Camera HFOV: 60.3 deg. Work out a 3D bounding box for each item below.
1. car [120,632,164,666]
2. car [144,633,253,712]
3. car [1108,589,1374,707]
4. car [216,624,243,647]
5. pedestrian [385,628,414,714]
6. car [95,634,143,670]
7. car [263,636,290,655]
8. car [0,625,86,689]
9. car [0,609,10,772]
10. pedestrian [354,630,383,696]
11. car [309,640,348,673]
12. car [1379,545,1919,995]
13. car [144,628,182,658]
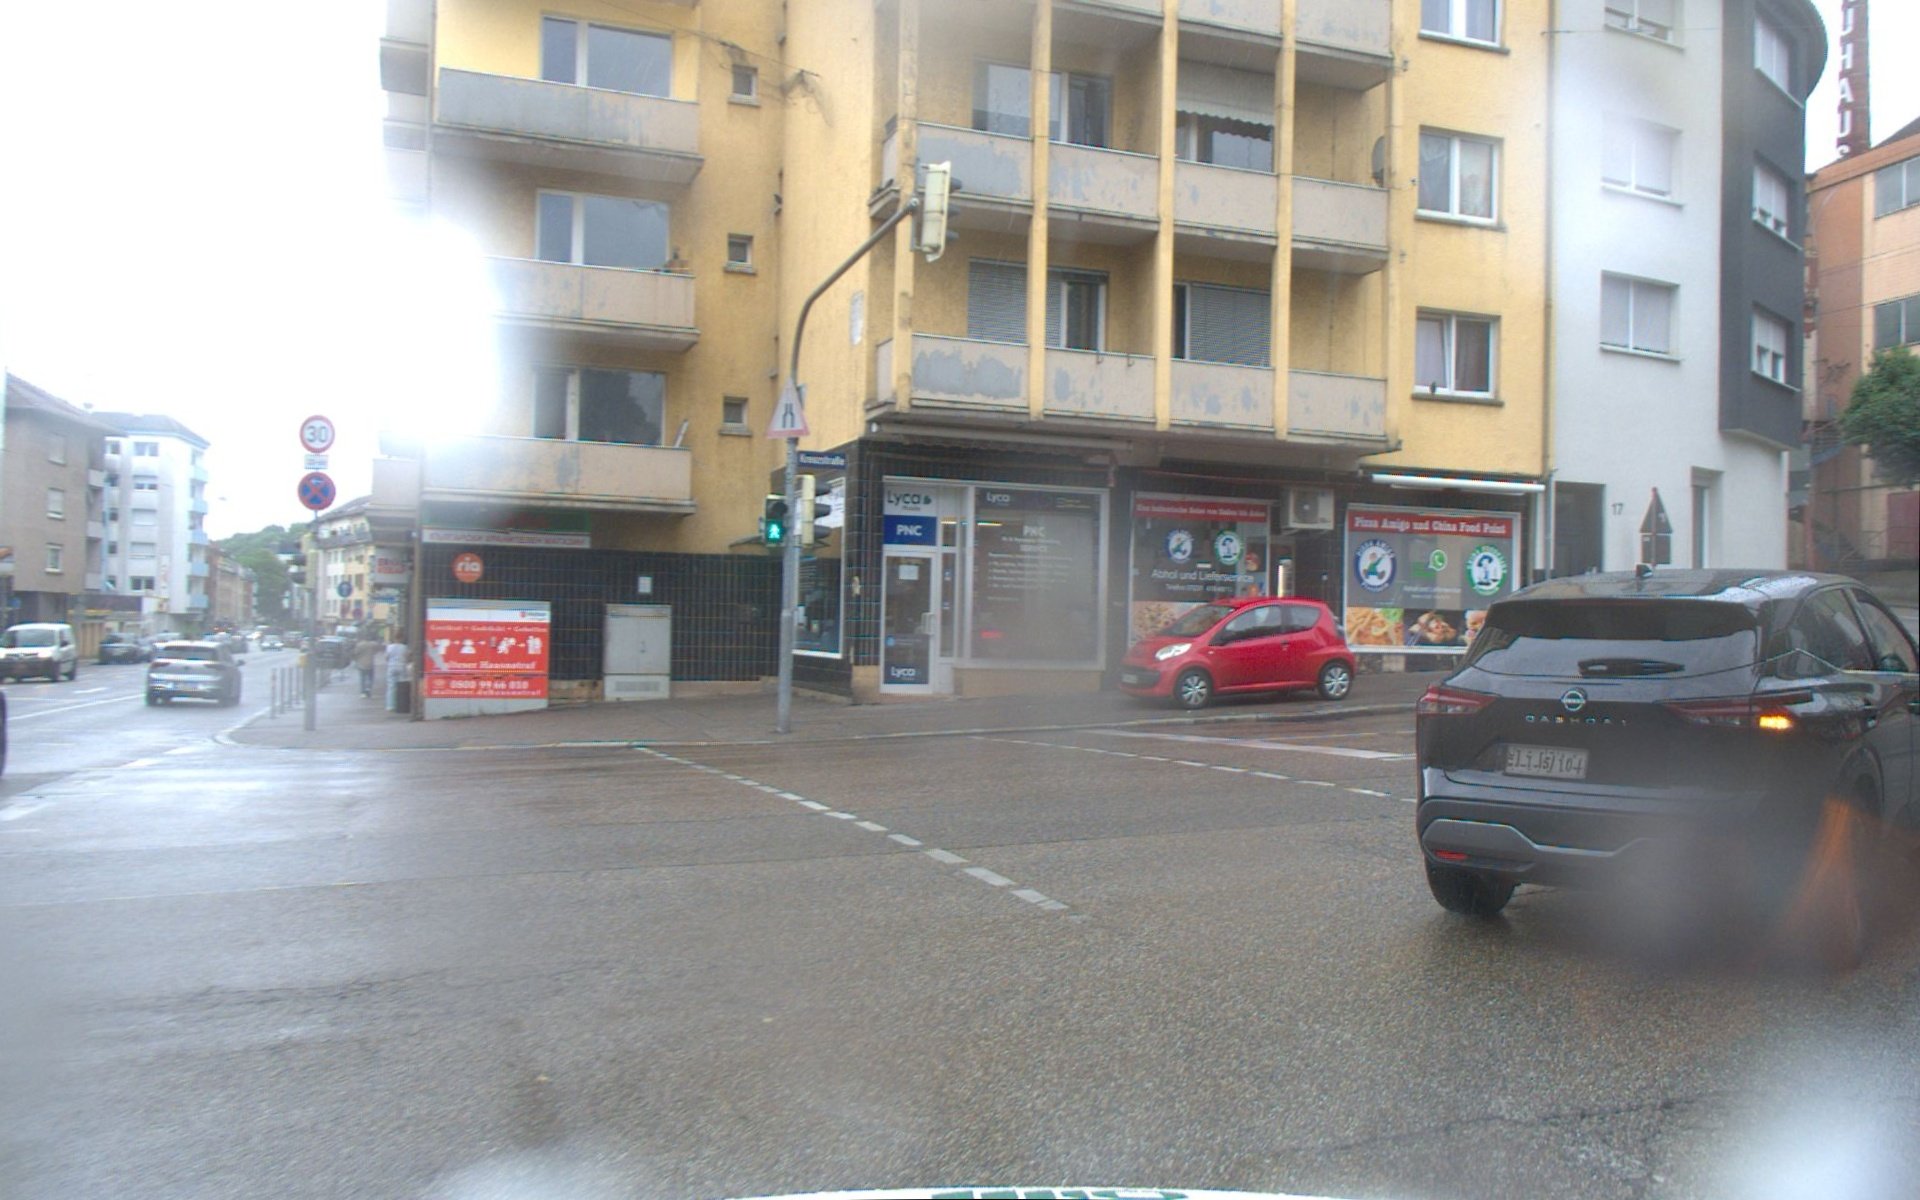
[{"bbox_3d":[-46.801,2.800,94.698,1.957,1.888,4.201,0,-1,-22],"label":"car"},{"bbox_3d":[-17.797,1.661,38.851,1.956,1.732,4.542,1,-2,-21],"label":"car"},{"bbox_3d":[4.032,0.644,23.786,3.471,1.489,1.605,-1,2,-21],"label":"car"},{"bbox_3d":[-61.819,2.977,139.930,1.957,1.888,4.201,0,-1,-22],"label":"car"},{"bbox_3d":[-11.194,1.418,33.029,0.491,1.704,0.553,2,-2,-21],"label":"pedestrian"},{"bbox_3d":[-45.041,2.770,88.633,1.957,1.888,4.201,0,-1,-22],"label":"car"},{"bbox_3d":[-66.679,4.429,161.412,2.095,1.888,4.209,0,-1,-18],"label":"car"},{"bbox_3d":[-29.066,1.768,52.054,1.953,1.888,4.211,0,-1,-17],"label":"car"},{"bbox_3d":[-9.405,0.836,14.230,1.771,1.537,3.968,0,-1,-25],"label":"car"},{"bbox_3d":[-15.372,1.640,42.973,0.647,1.704,0.699,2,-2,-21],"label":"pedestrian"},{"bbox_3d":[-34.801,3.095,91.201,1.956,1.732,4.542,1,-2,-21],"label":"car"},{"bbox_3d":[3.766,0.608,8.078,1.852,1.622,3.900,0,0,40],"label":"car"},{"bbox_3d":[-52.187,2.796,108.315,1.957,1.888,4.201,0,-1,-22],"label":"car"}]
